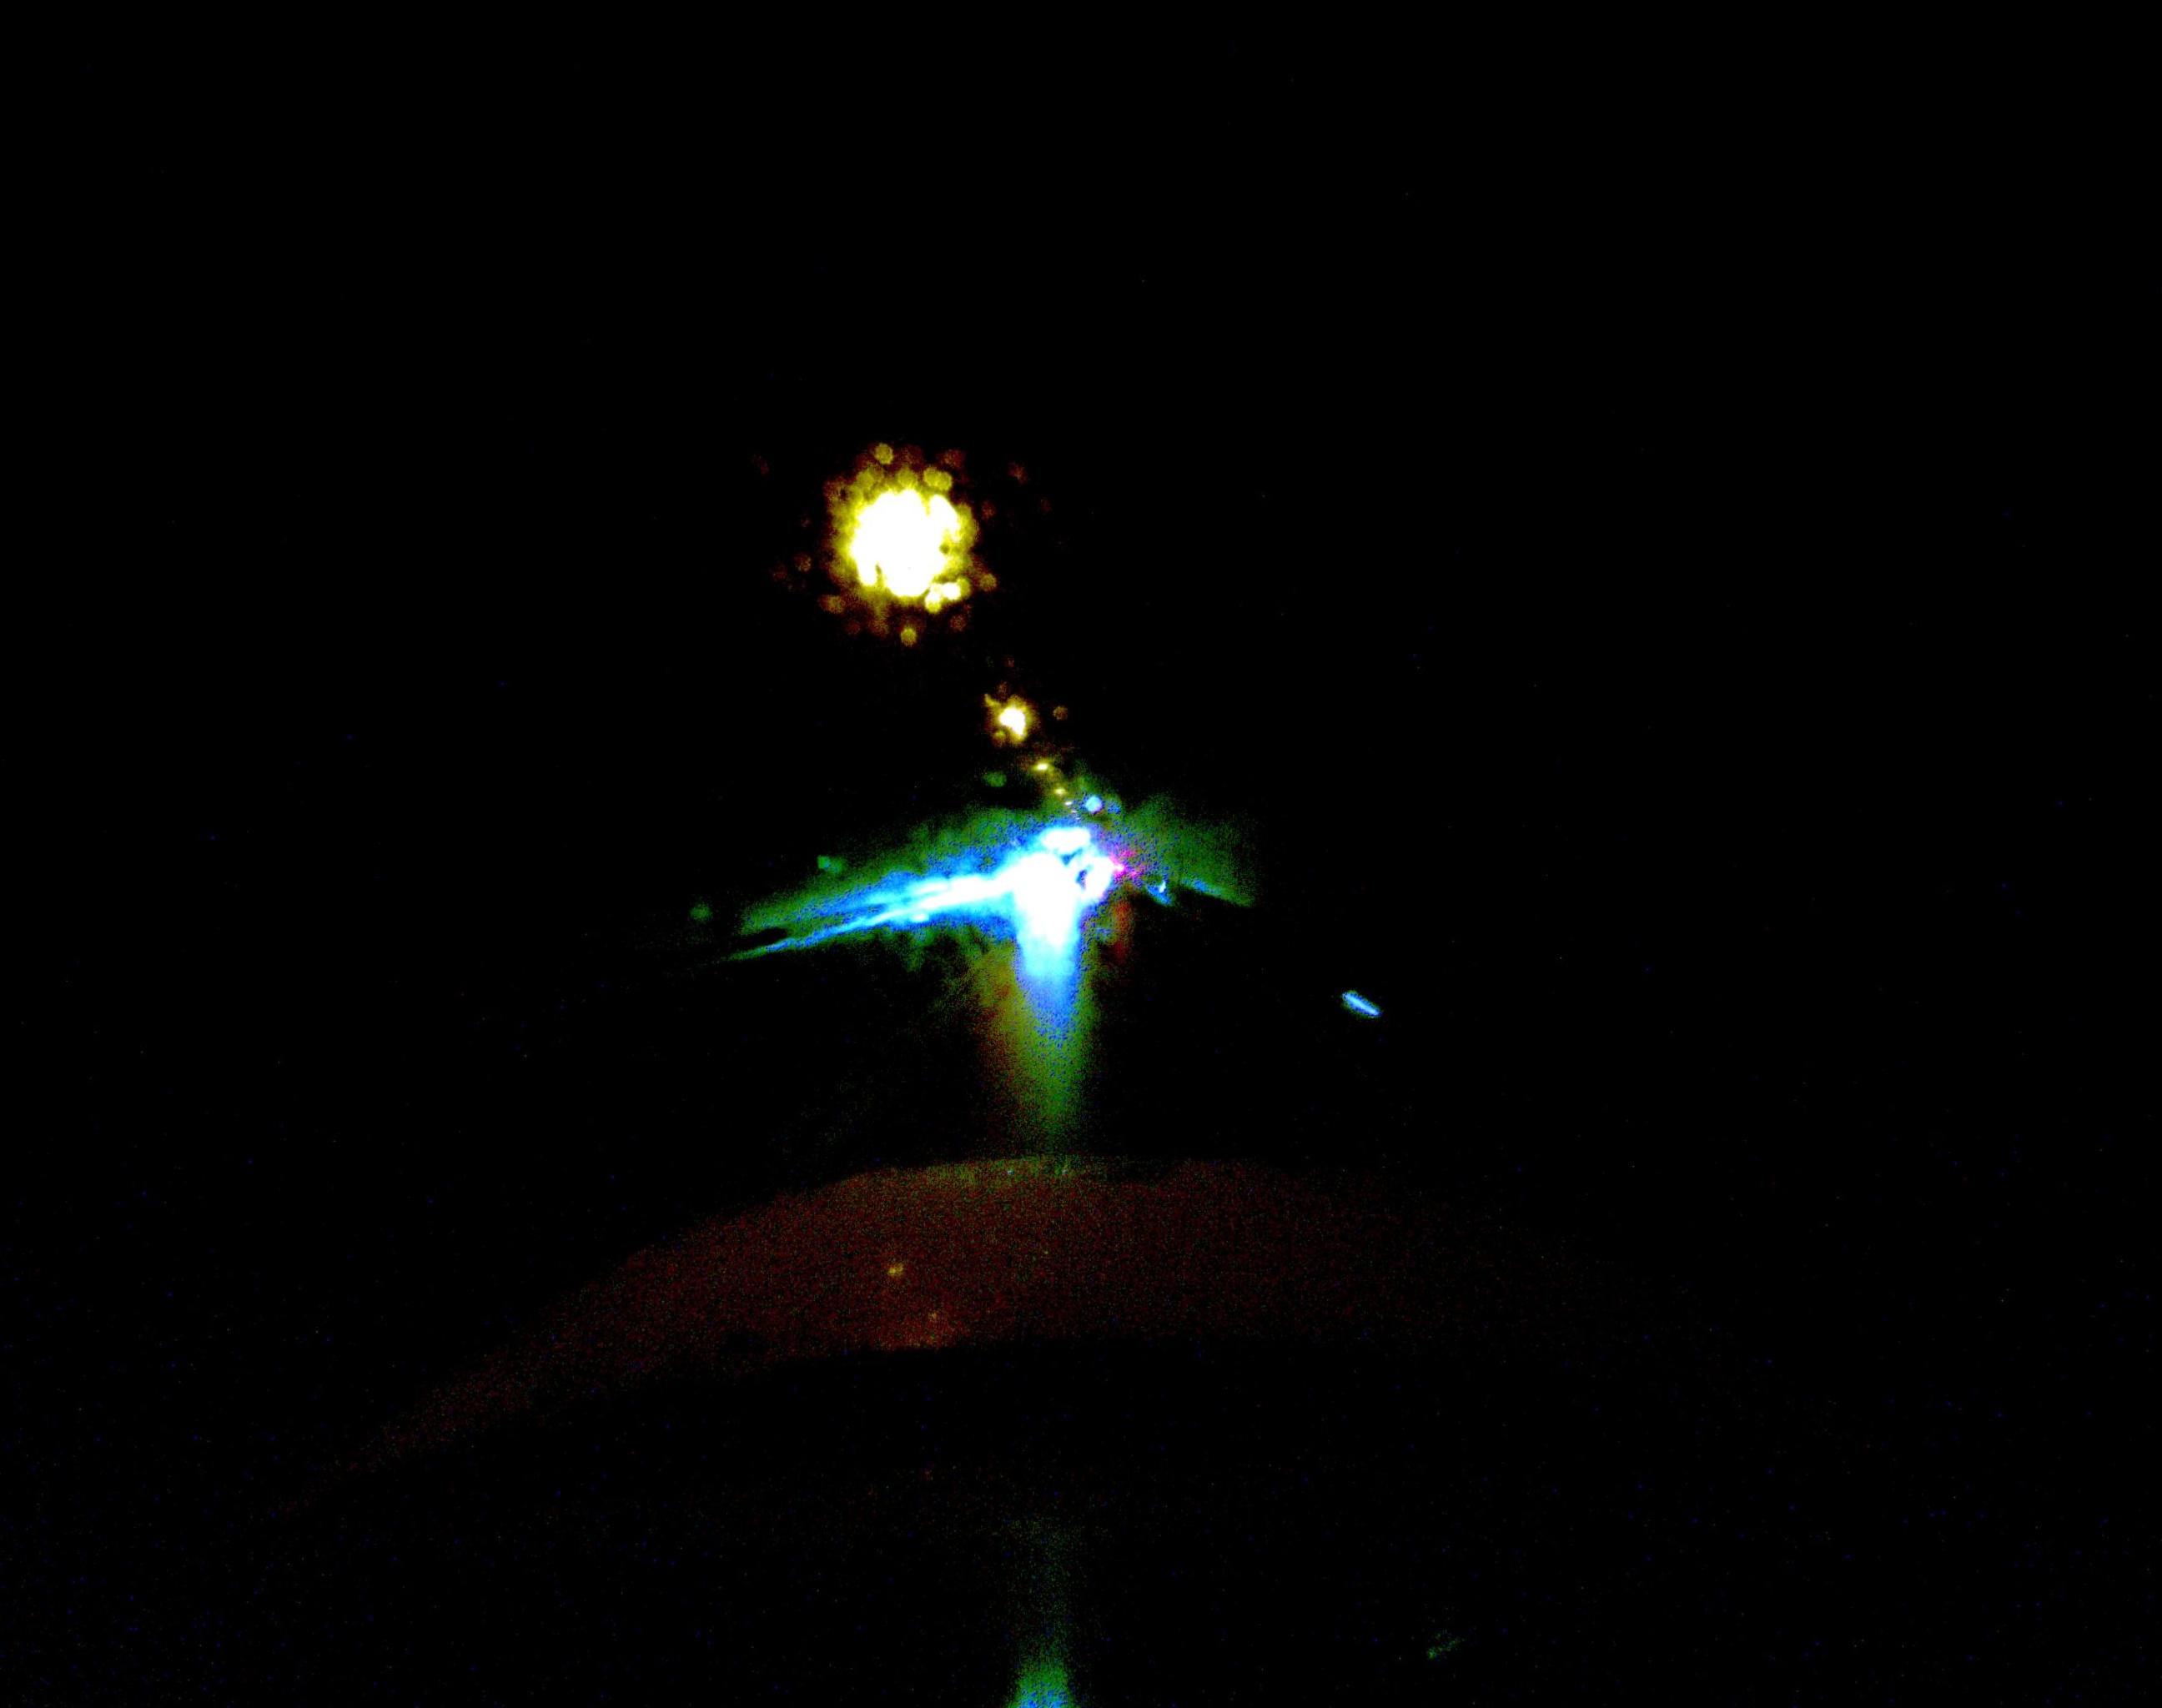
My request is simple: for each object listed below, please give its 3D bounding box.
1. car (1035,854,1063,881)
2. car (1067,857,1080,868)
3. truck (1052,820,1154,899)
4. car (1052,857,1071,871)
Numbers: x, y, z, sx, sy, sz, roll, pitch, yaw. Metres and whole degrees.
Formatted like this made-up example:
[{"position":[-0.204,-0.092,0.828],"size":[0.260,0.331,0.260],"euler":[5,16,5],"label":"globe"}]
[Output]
[{"position":[-2.068,0.859,53.423],"size":[1.563,1.632,3.731],"euler":[-1,0,2],"label":"car"},{"position":[-0.994,1.215,115.354],"size":[1.754,1.480,3.886],"euler":[-1,0,0],"label":"car"},{"position":[0.894,0.201,33.021],"size":[3.522,2.693,8.959],"euler":[-1,0,2],"label":"truck"},{"position":[-2.045,1.047,85.523],"size":[1.728,1.441,3.837],"euler":[0,0,1],"label":"car"}]
